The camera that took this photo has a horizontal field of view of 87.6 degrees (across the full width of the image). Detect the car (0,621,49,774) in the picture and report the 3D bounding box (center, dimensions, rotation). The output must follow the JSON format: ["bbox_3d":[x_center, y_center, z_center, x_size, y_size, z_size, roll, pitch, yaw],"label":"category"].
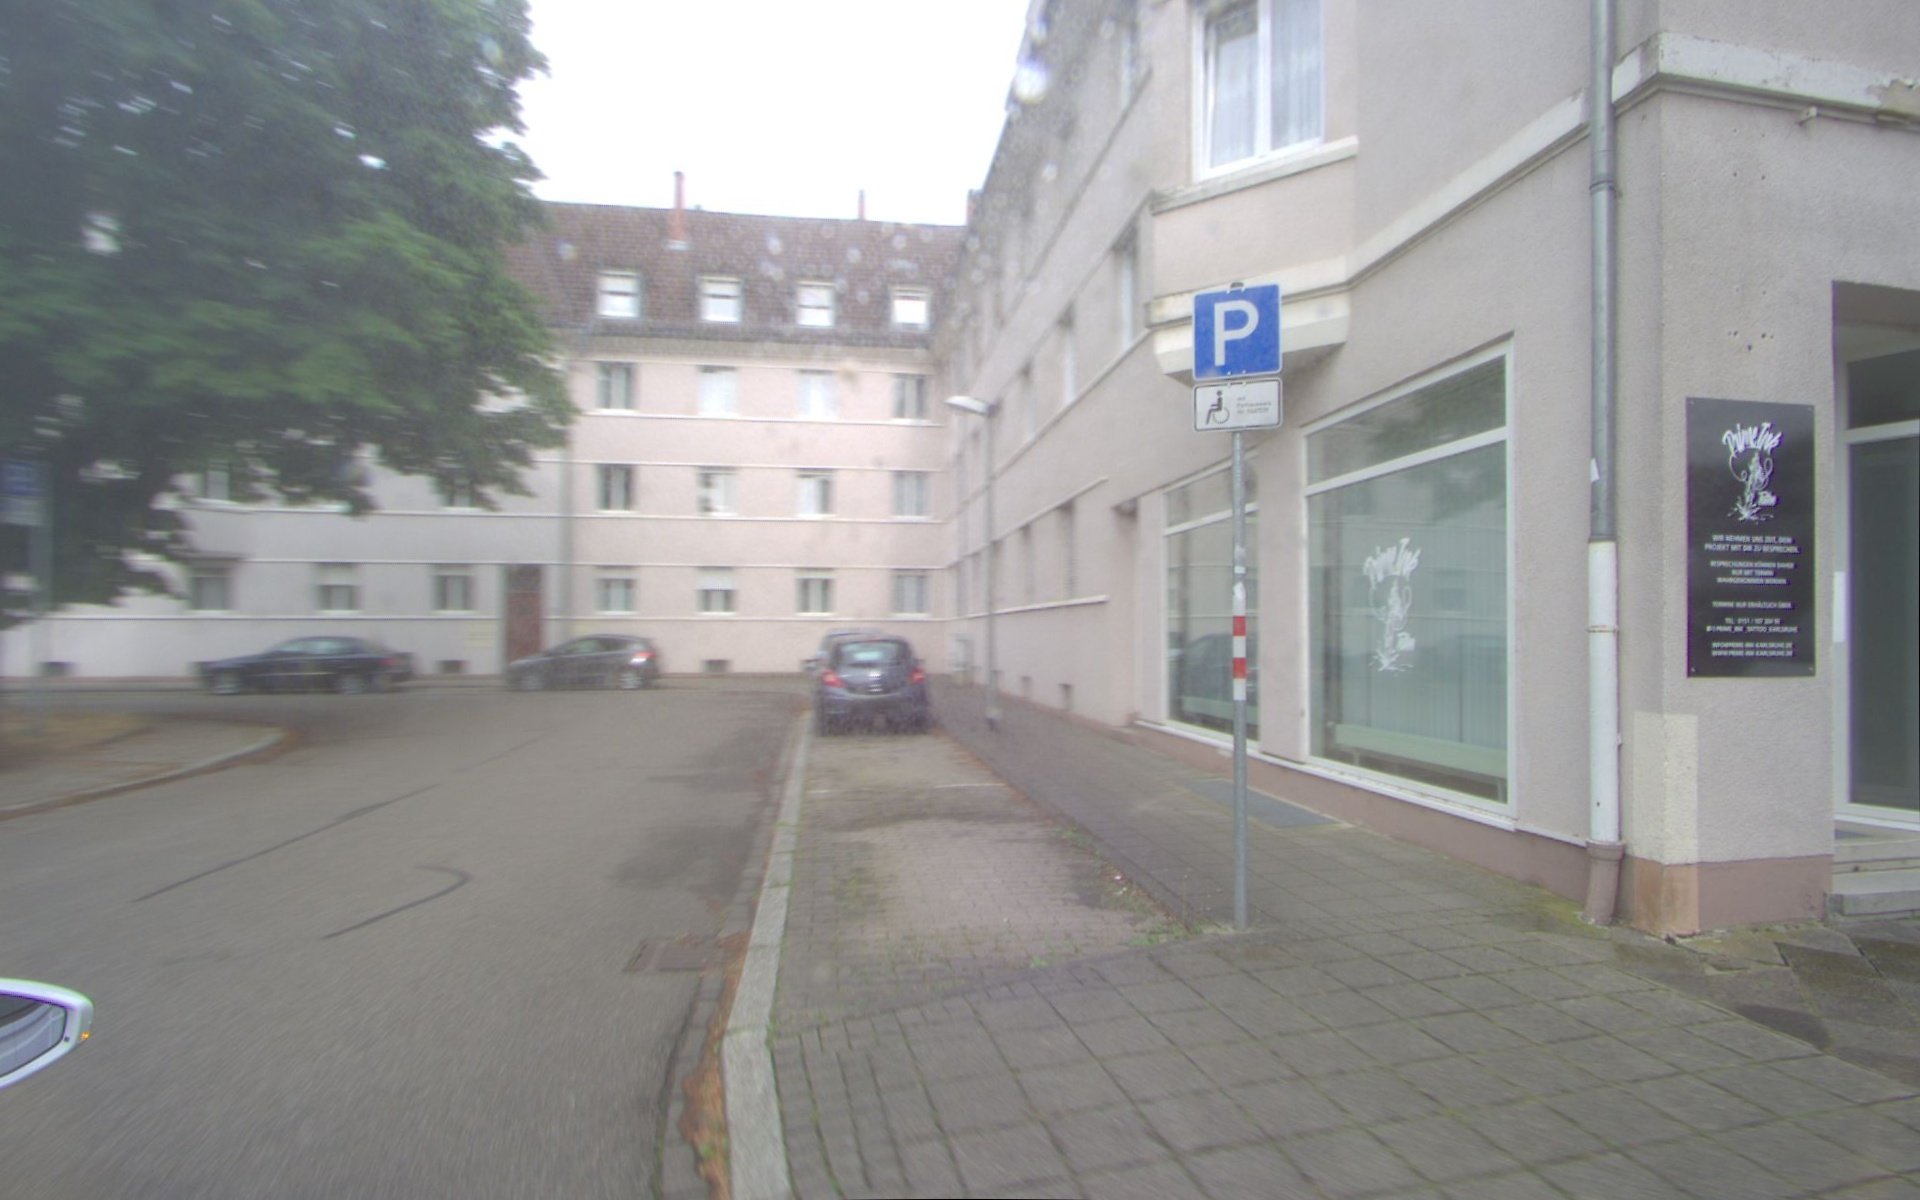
[{"bbox_3d":[-11.865,0.999,9.976,3.768,1.598,1.831,0,-1,-5],"label":"car"}]

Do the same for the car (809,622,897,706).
[{"bbox_3d":[-2.287,1.360,21.859,1.728,1.648,4.202,0,-2,-5],"label":"car"}]

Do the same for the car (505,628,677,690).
[{"bbox_3d":[-9.754,1.552,26.750,4.002,1.545,1.762,1,-1,-9],"label":"car"}]

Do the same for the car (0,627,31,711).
[{"bbox_3d":[-19.033,1.215,17.725,3.522,1.511,1.531,0,-4,-5],"label":"car"}]

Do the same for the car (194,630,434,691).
[{"bbox_3d":[-16.456,1.539,25.750,4.856,1.439,1.750,1,-1,-9],"label":"car"}]

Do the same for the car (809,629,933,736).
[{"bbox_3d":[-1.492,1.246,16.088,1.729,1.508,3.937,1,-2,-7],"label":"car"}]
